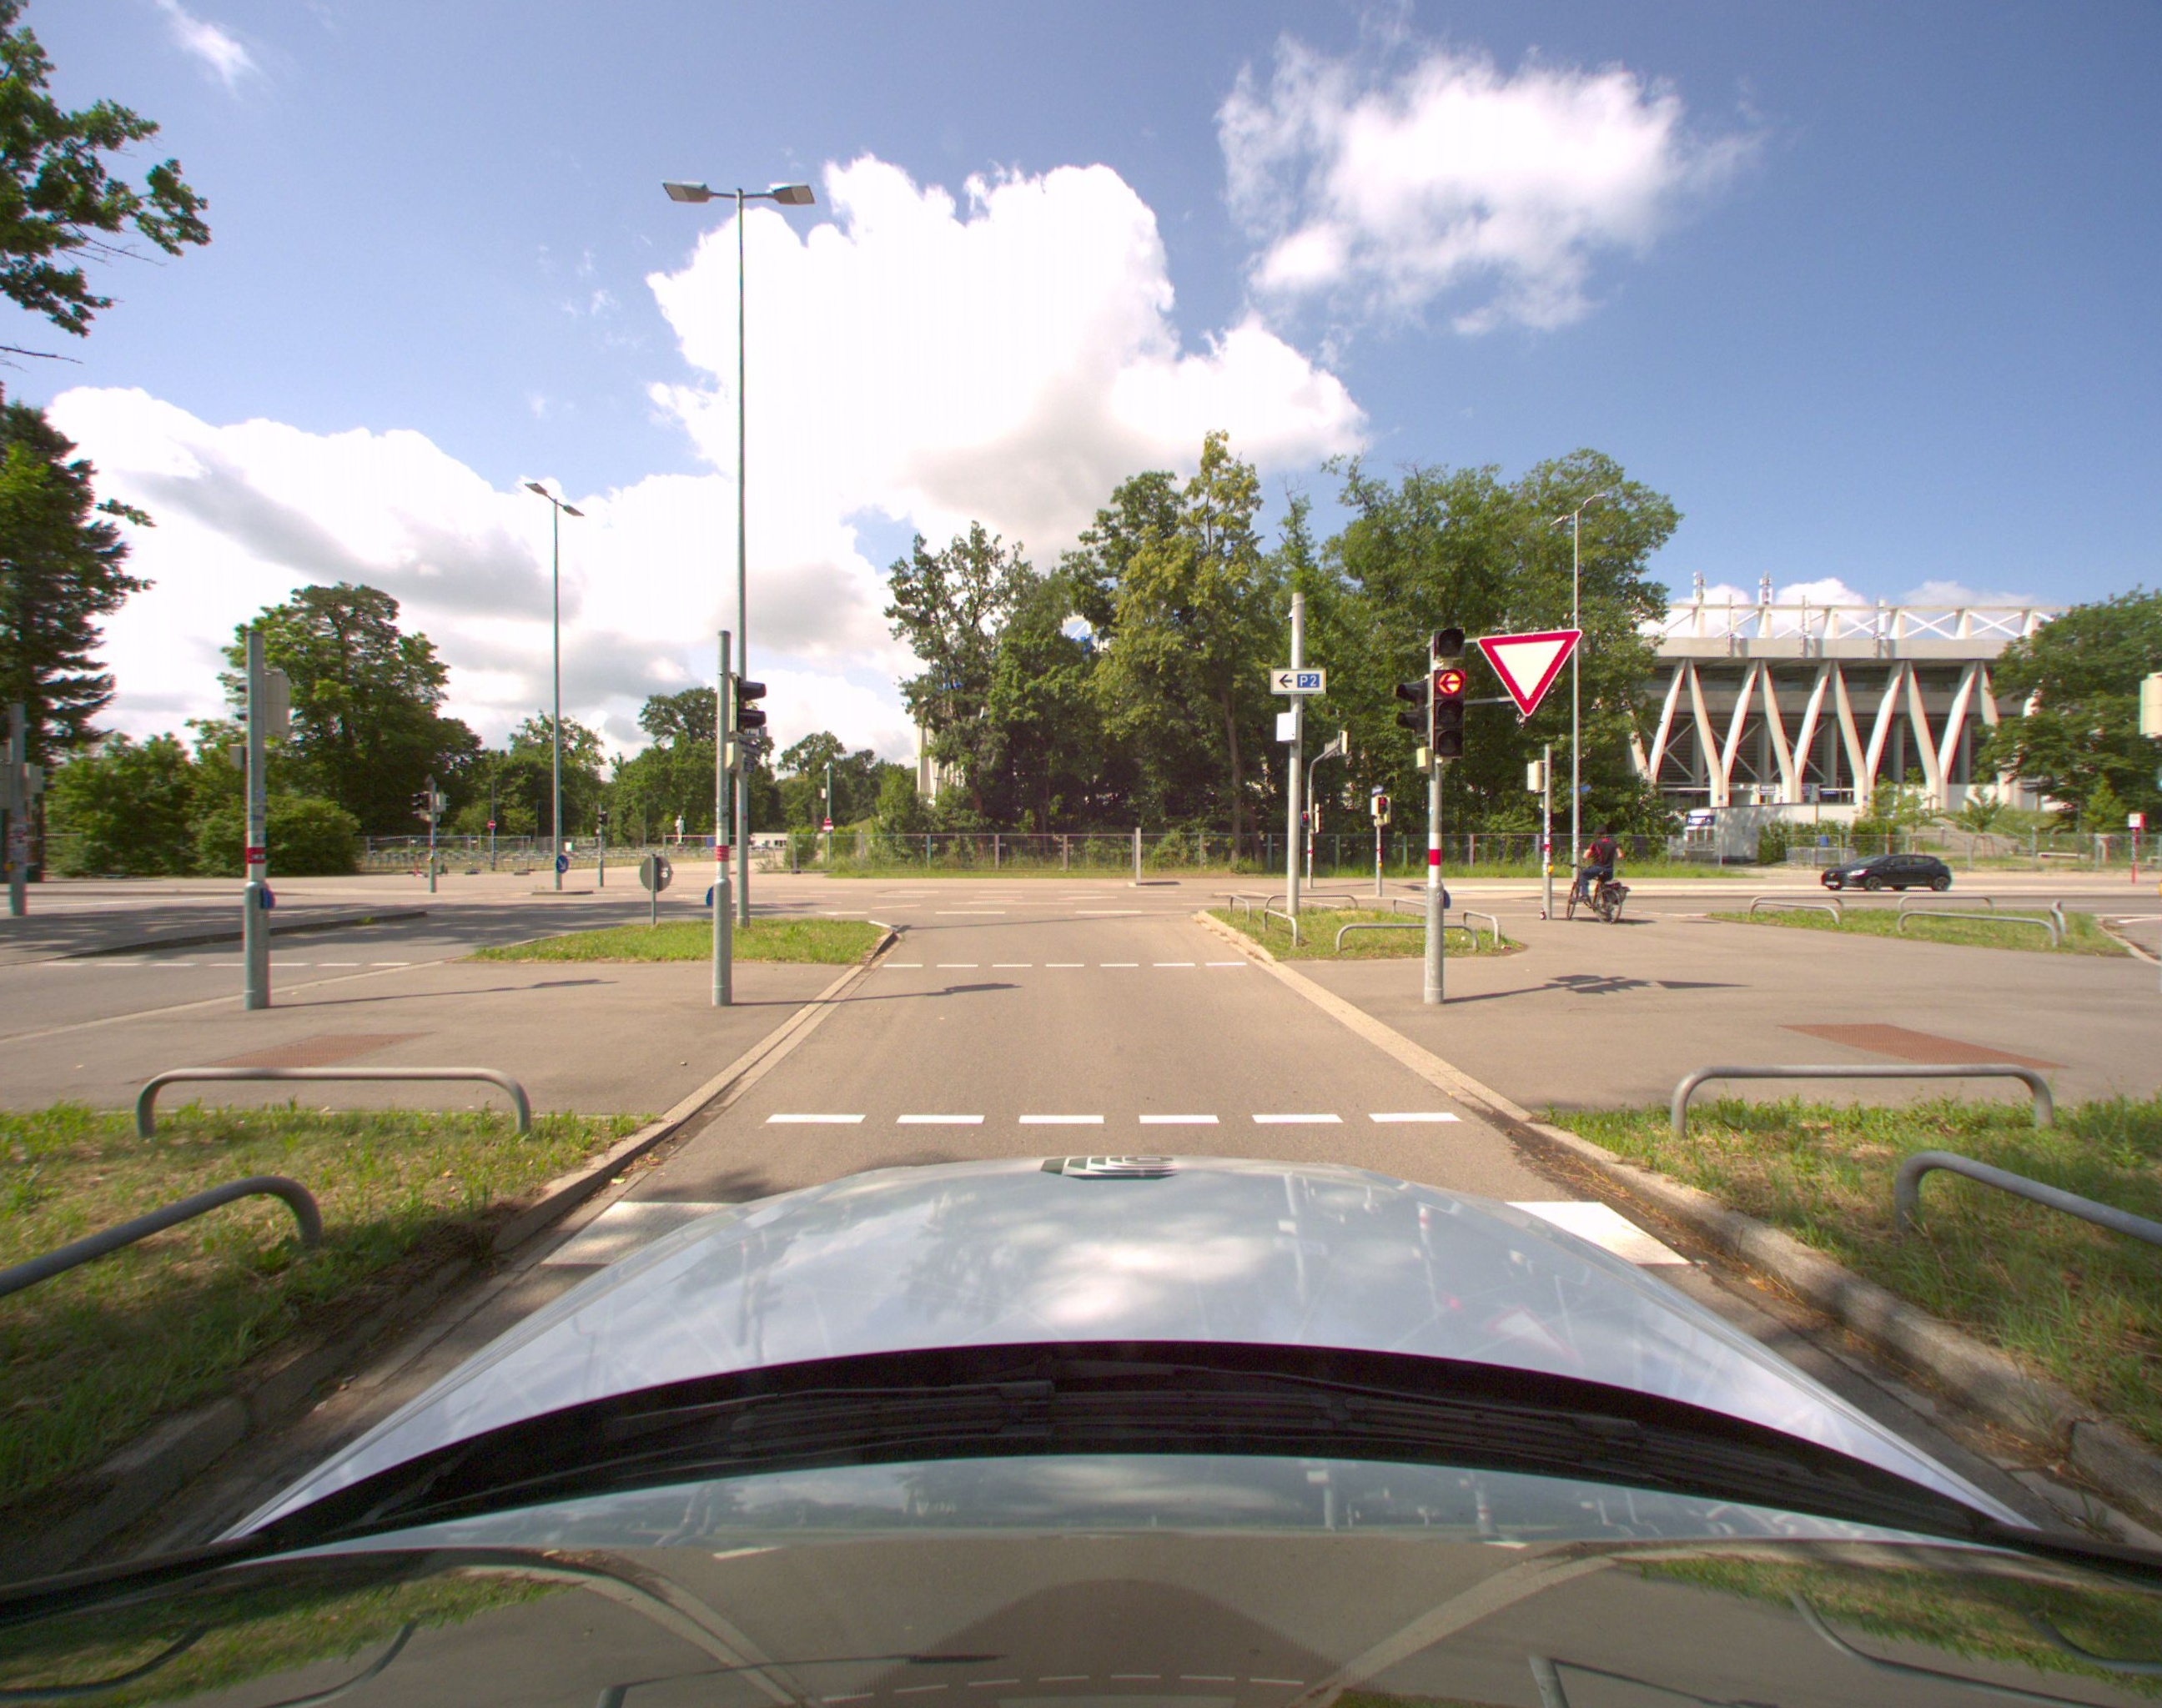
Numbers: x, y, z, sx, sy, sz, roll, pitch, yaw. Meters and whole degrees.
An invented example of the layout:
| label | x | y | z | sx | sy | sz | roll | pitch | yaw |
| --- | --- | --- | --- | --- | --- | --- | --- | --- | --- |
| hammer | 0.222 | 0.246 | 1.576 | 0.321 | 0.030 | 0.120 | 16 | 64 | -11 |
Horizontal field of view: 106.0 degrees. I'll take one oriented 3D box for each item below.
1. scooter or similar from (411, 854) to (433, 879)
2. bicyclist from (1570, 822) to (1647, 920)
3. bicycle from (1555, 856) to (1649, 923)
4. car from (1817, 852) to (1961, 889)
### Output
| label | x | y | z | sx | sy | sz | roll | pitch | yaw |
| --- | --- | --- | --- | --- | --- | --- | --- | --- | --- |
| scooter or similar | -32.241 | 0.598 | 39.818 | 1.295 | 1.200 | 0.410 | 0 | 1 | 31 |
| bicyclist | 9.946 | 0.314 | 15.396 | 0.879 | 1.798 | 0.981 | -1 | -1 | 10 |
| bicycle | 9.964 | 0.641 | 15.668 | 0.875 | 1.206 | 1.903 | -1 | -1 | 11 |
| car | 31.162 | 0.635 | 31.498 | 3.948 | 1.378 | 1.603 | 0 | -1 | 1 |
